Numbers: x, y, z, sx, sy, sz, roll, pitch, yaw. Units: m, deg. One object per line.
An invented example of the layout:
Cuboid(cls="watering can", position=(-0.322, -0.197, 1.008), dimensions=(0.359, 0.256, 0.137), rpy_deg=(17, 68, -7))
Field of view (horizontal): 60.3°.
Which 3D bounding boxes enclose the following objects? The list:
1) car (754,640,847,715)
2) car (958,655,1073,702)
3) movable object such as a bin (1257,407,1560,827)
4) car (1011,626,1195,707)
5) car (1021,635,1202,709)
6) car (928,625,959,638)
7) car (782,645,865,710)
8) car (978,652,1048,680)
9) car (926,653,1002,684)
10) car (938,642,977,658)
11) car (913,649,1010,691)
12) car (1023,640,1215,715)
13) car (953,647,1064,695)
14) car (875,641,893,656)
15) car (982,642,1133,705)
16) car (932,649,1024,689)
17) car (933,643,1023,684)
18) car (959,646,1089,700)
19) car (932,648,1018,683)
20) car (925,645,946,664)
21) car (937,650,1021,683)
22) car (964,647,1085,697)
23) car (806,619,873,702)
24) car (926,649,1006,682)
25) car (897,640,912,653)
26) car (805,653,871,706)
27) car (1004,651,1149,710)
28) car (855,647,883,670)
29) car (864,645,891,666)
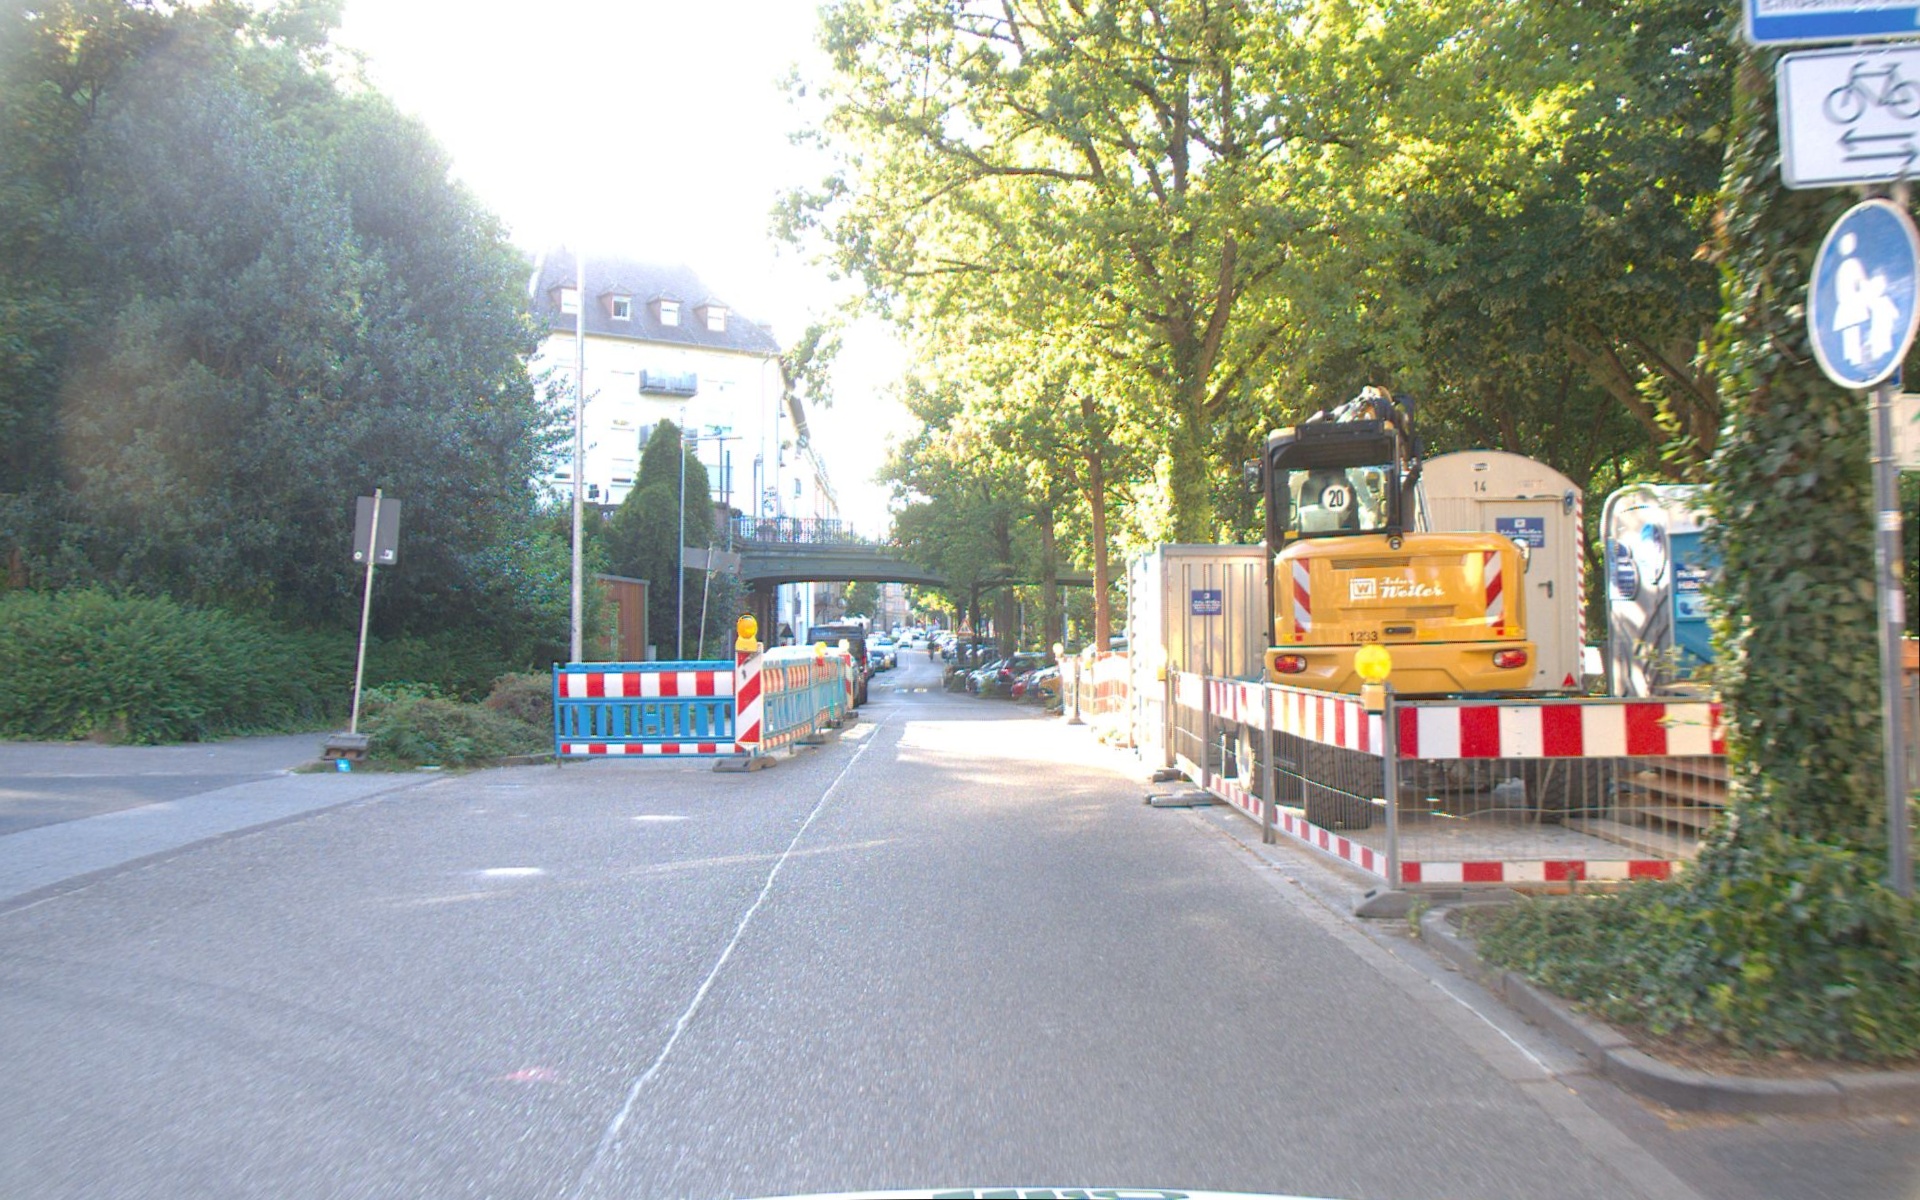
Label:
Cuboid(cls="car", position=(-3.334, 1.651, 35.112), dimensions=(1.680, 1.443, 4.104), rpy_deg=(-1, -3, -2))
Cuboid(cls="car", position=(2.139, 3.059, 64.219), dimensions=(4.300, 1.732, 1.915), rpy_deg=(1, -4, -4))
Cuboid(cls="movable object such as a bin", position=(3.299, 0.124, 12.539), dimensions=(1.951, 2.747, 3.113), rpy_deg=(0, -1, 12))
Cuboid(cls="car", position=(3.783, 1.805, 44.323), dimensions=(4.648, 2.032, 1.914), rpy_deg=(2, -4, -5))
Cuboid(cls="car", position=(3.792, 1.840, 41.746), dimensions=(4.300, 1.732, 1.915), rpy_deg=(1, -4, -4))
Cuboid(cls="car", position=(-2.311, 4.516, 235.142), dimensions=(4.298, 1.638, 1.780), rpy_deg=(1, -4, -1))
Cuboid(cls="car", position=(-3.322, 1.877, 40.937), dimensions=(1.776, 1.466, 4.348), rpy_deg=(1, -2, -2))
Cuboid(cls="car", position=(3.327, 4.201, 104.419), dimensions=(4.298, 1.638, 1.780), rpy_deg=(1, -4, -1))
Cuboid(cls="car", position=(0.217, 3.970, 95.959), dimensions=(4.300, 1.638, 1.779), rpy_deg=(1, -4, -4))
Cuboid(cls="car", position=(-0.314, 5.598, 183.592), dimensions=(4.298, 1.638, 1.780), rpy_deg=(1, -4, -1))
Cuboid(cls="car", position=(0.040, 3.207, 75.485), dimensions=(4.300, 1.816, 1.915), rpy_deg=(1, -4, -4))
Cuboid(cls="car", position=(3.761, 1.865, 39.556), dimensions=(4.301, 1.634, 1.914), rpy_deg=(2, -4, -5))
Cuboid(cls="car", position=(1.948, 2.882, 67.002), dimensions=(4.300, 1.816, 1.915), rpy_deg=(1, -4, -4))
Cuboid(cls="car", position=(-7.826, 5.031, 171.350), dimensions=(1.776, 1.422, 3.973), rpy_deg=(-1, -3, -2))
Cuboid(cls="car", position=(2.871, 2.205, 49.294), dimensions=(4.300, 1.732, 1.915), rpy_deg=(1, -4, -4))
Cuboid(cls="car", position=(0.846, 3.337, 80.019), dimensions=(4.300, 1.816, 1.915), rpy_deg=(1, -4, -4))
Cuboid(cls="car", position=(0.862, 3.160, 82.108), dimensions=(4.300, 1.894, 1.915), rpy_deg=(1, -4, -4))
Cuboid(cls="car", position=(2.167, 2.515, 56.725), dimensions=(4.300, 1.732, 1.915), rpy_deg=(1, -4, -4))
Cuboid(cls="car", position=(0.739, 3.367, 84.729), dimensions=(4.300, 1.638, 1.779), rpy_deg=(1, -4, -4))
Cuboid(cls="car", position=(-2.140, 4.742, 143.651), dimensions=(1.739, 1.638, 4.400), rpy_deg=(1, -3, -1))
Cuboid(cls="car", position=(0.987, 3.529, 87.770), dimensions=(4.300, 1.638, 1.779), rpy_deg=(1, -4, -4))
Cuboid(cls="car", position=(2.354, 2.674, 61.285), dimensions=(4.300, 1.732, 1.915), rpy_deg=(1, -4, -4))
Cuboid(cls="car", position=(-3.930, 2.038, 54.731), dimensions=(2.006, 2.541, 5.692), rpy_deg=(1, -3, -3))
Cuboid(cls="car", position=(0.301, 3.601, 90.867), dimensions=(4.300, 1.638, 1.779), rpy_deg=(1, -4, -4))
Cuboid(cls="car", position=(-6.934, 5.833, 207.680), dimensions=(1.776, 1.422, 3.973), rpy_deg=(-1, -3, -2))
Cuboid(cls="car", position=(-3.630, 2.388, 49.705), dimensions=(1.776, 1.479, 4.348), rpy_deg=(-1, -3, -2))
Cuboid(cls="car", position=(3.603, 2.521, 51.616), dimensions=(4.300, 1.732, 1.915), rpy_deg=(1, -4, -4))
Cuboid(cls="car", position=(-6.129, 3.949, 111.625), dimensions=(1.776, 1.422, 3.973), rpy_deg=(-1, -3, -2))
Cuboid(cls="car", position=(-5.813, 3.942, 116.854), dimensions=(1.776, 1.422, 3.973), rpy_deg=(-1, -3, -2))
